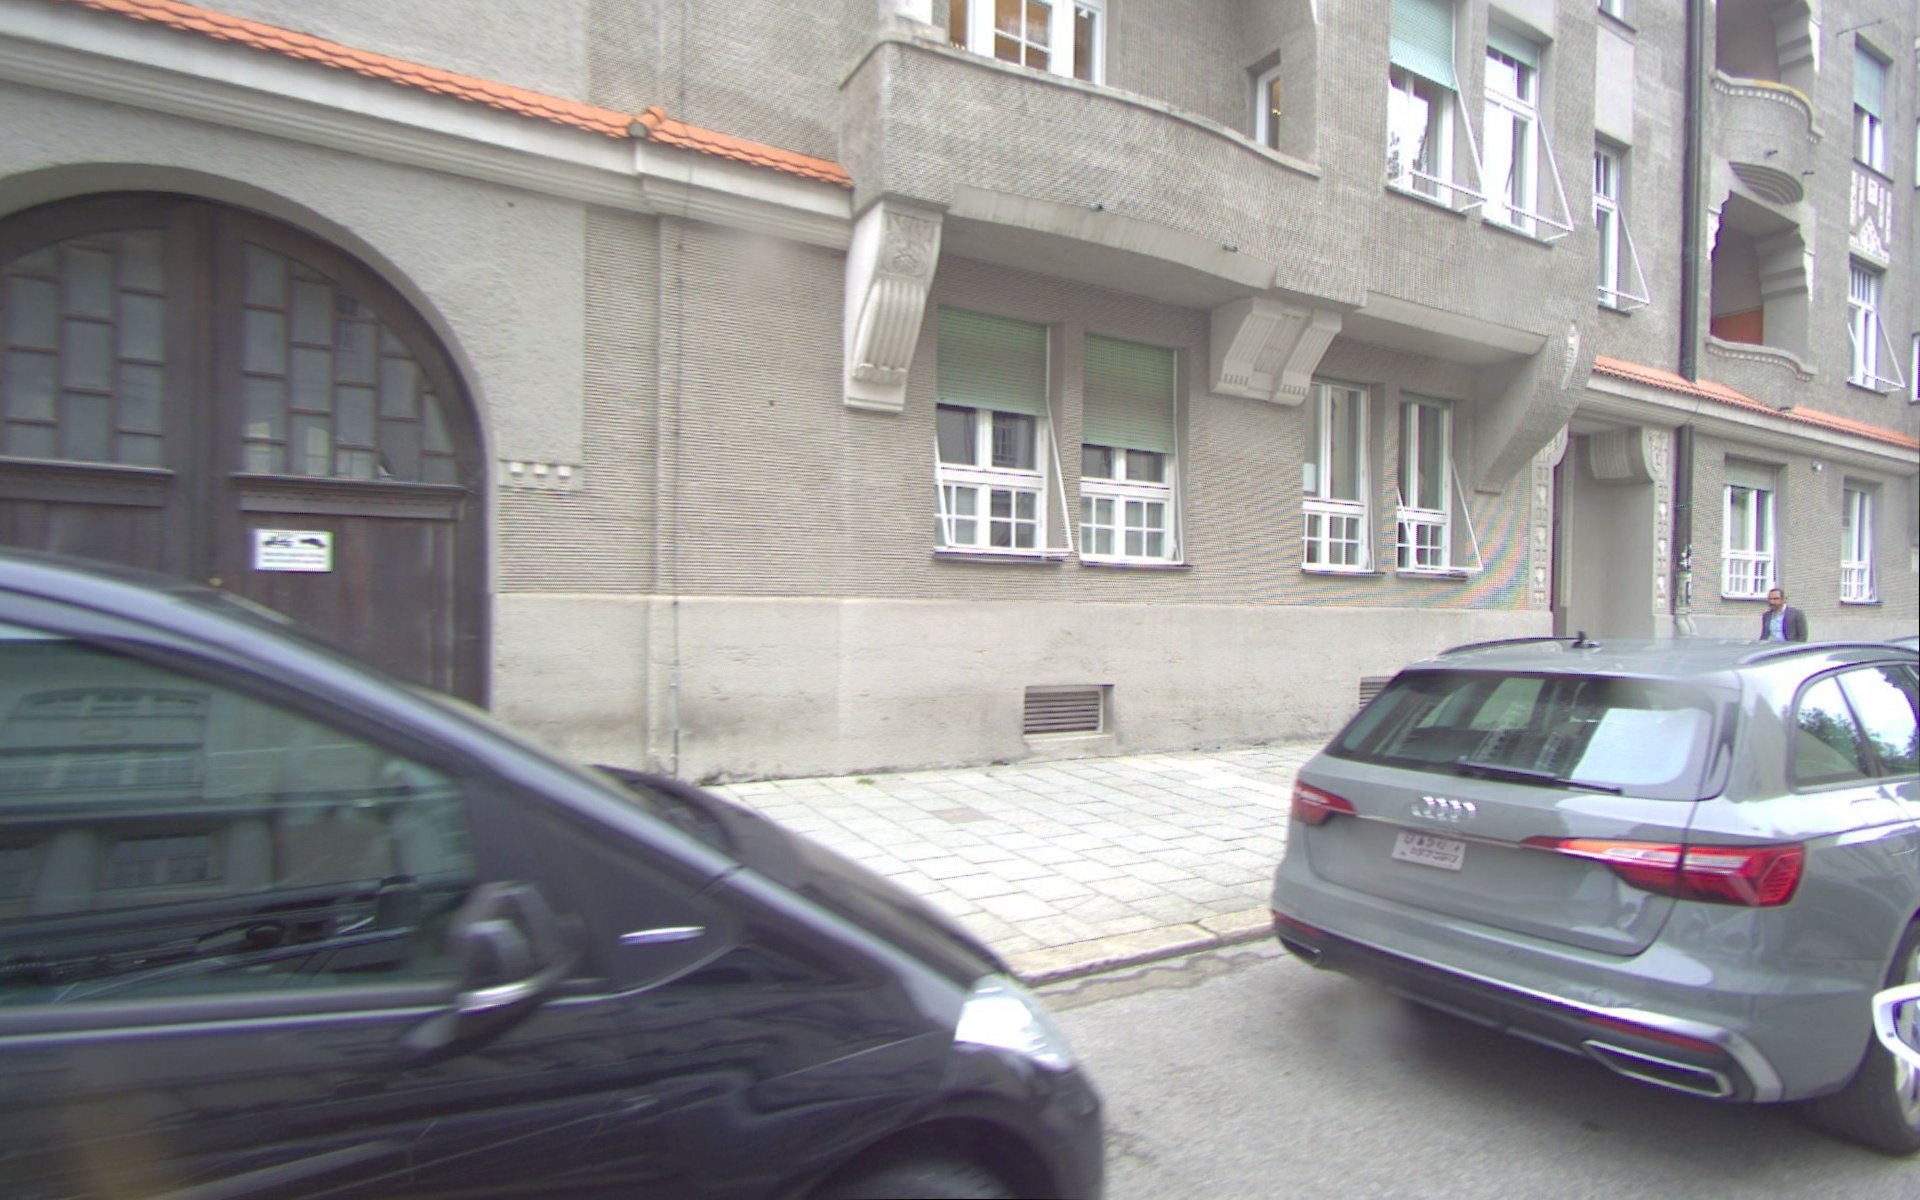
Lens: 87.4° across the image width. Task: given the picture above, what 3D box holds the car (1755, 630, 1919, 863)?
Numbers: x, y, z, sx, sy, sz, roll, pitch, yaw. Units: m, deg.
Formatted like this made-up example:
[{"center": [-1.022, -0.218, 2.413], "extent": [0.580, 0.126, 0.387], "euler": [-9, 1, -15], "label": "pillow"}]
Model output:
[{"center": [7.902, 0.944, 7.296], "extent": [4.385, 1.450, 1.798], "euler": [1, -2, -29], "label": "car"}]

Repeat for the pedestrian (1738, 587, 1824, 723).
[{"center": [11.560, 0.753, 14.152], "extent": [0.722, 1.841, 0.713], "euler": [1, 0, -31], "label": "pedestrian"}]

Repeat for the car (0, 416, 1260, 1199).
[{"center": [-1.499, 0.617, 1.578], "extent": [3.774, 1.593, 1.791], "euler": [1, 0, -34], "label": "car"}]

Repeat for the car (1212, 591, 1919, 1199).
[{"center": [3.344, 0.800, 4.208], "extent": [4.557, 1.533, 1.827], "euler": [1, -1, -32], "label": "car"}]
